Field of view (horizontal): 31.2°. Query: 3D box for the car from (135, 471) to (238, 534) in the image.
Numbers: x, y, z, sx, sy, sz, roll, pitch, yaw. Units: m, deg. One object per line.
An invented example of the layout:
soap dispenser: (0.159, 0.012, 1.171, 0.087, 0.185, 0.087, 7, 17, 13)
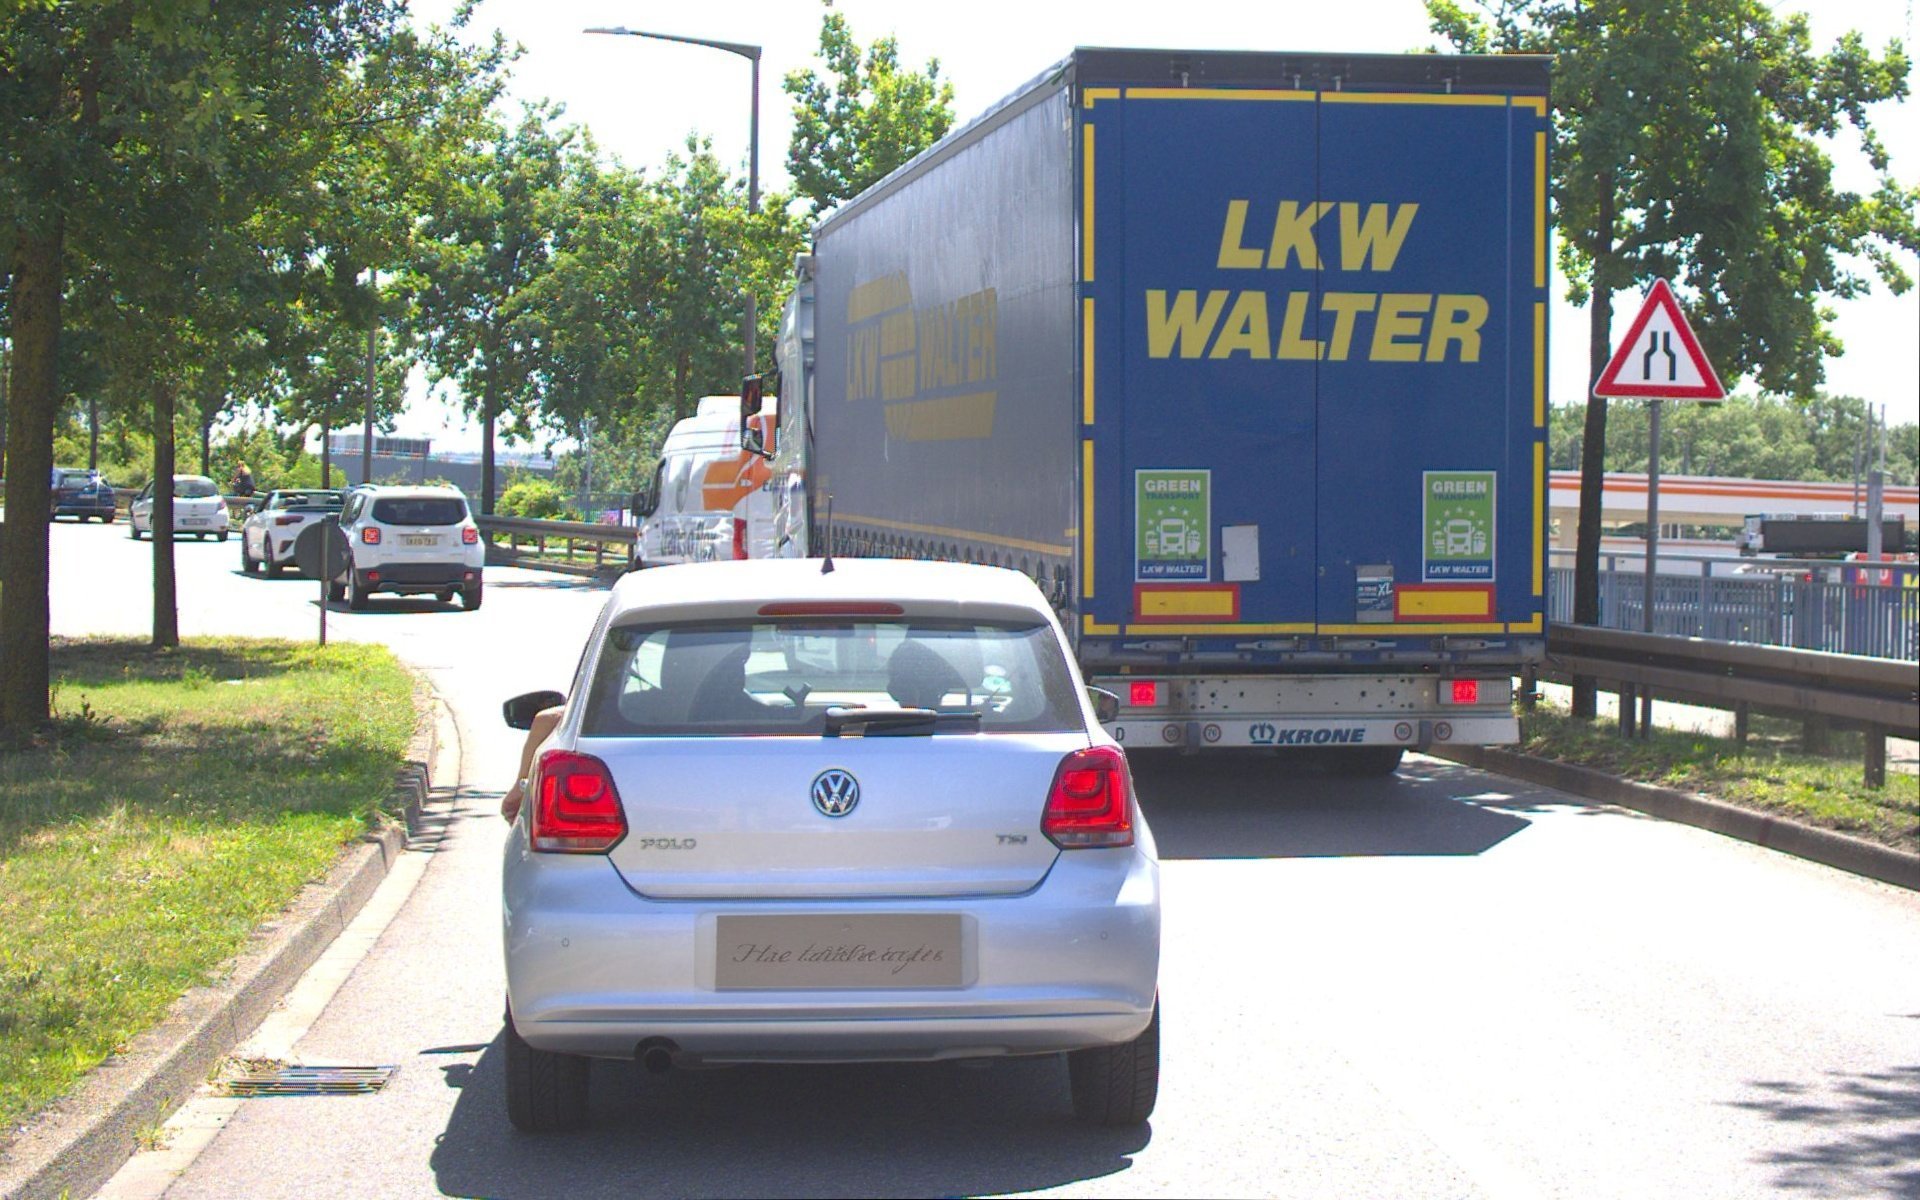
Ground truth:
car: (-17.595, -2.218, 78.122, 1.607, 1.355, 3.663, 1, 1, -24)

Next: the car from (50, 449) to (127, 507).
car: (-23.360, -3.256, 92.109, 1.664, 1.460, 3.582, 1, 1, -19)

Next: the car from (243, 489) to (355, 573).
car: (-11.217, -1.185, 58.222, 1.494, 1.355, 3.664, 1, 1, -16)

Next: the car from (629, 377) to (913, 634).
car: (-2.448, -1.209, 42.460, 2.175, 2.890, 6.361, 1, 2, -15)

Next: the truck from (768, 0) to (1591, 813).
truck: (0.702, -1.193, 25.958, 2.832, 4.184, 16.479, 1, 1, -8)

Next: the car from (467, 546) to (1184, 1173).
car: (-0.333, 0.587, 9.760, 1.646, 1.434, 3.537, 1, 1, -1)

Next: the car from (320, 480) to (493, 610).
car: (-7.764, -0.758, 47.966, 1.903, 1.712, 4.225, 1, 1, -16)
